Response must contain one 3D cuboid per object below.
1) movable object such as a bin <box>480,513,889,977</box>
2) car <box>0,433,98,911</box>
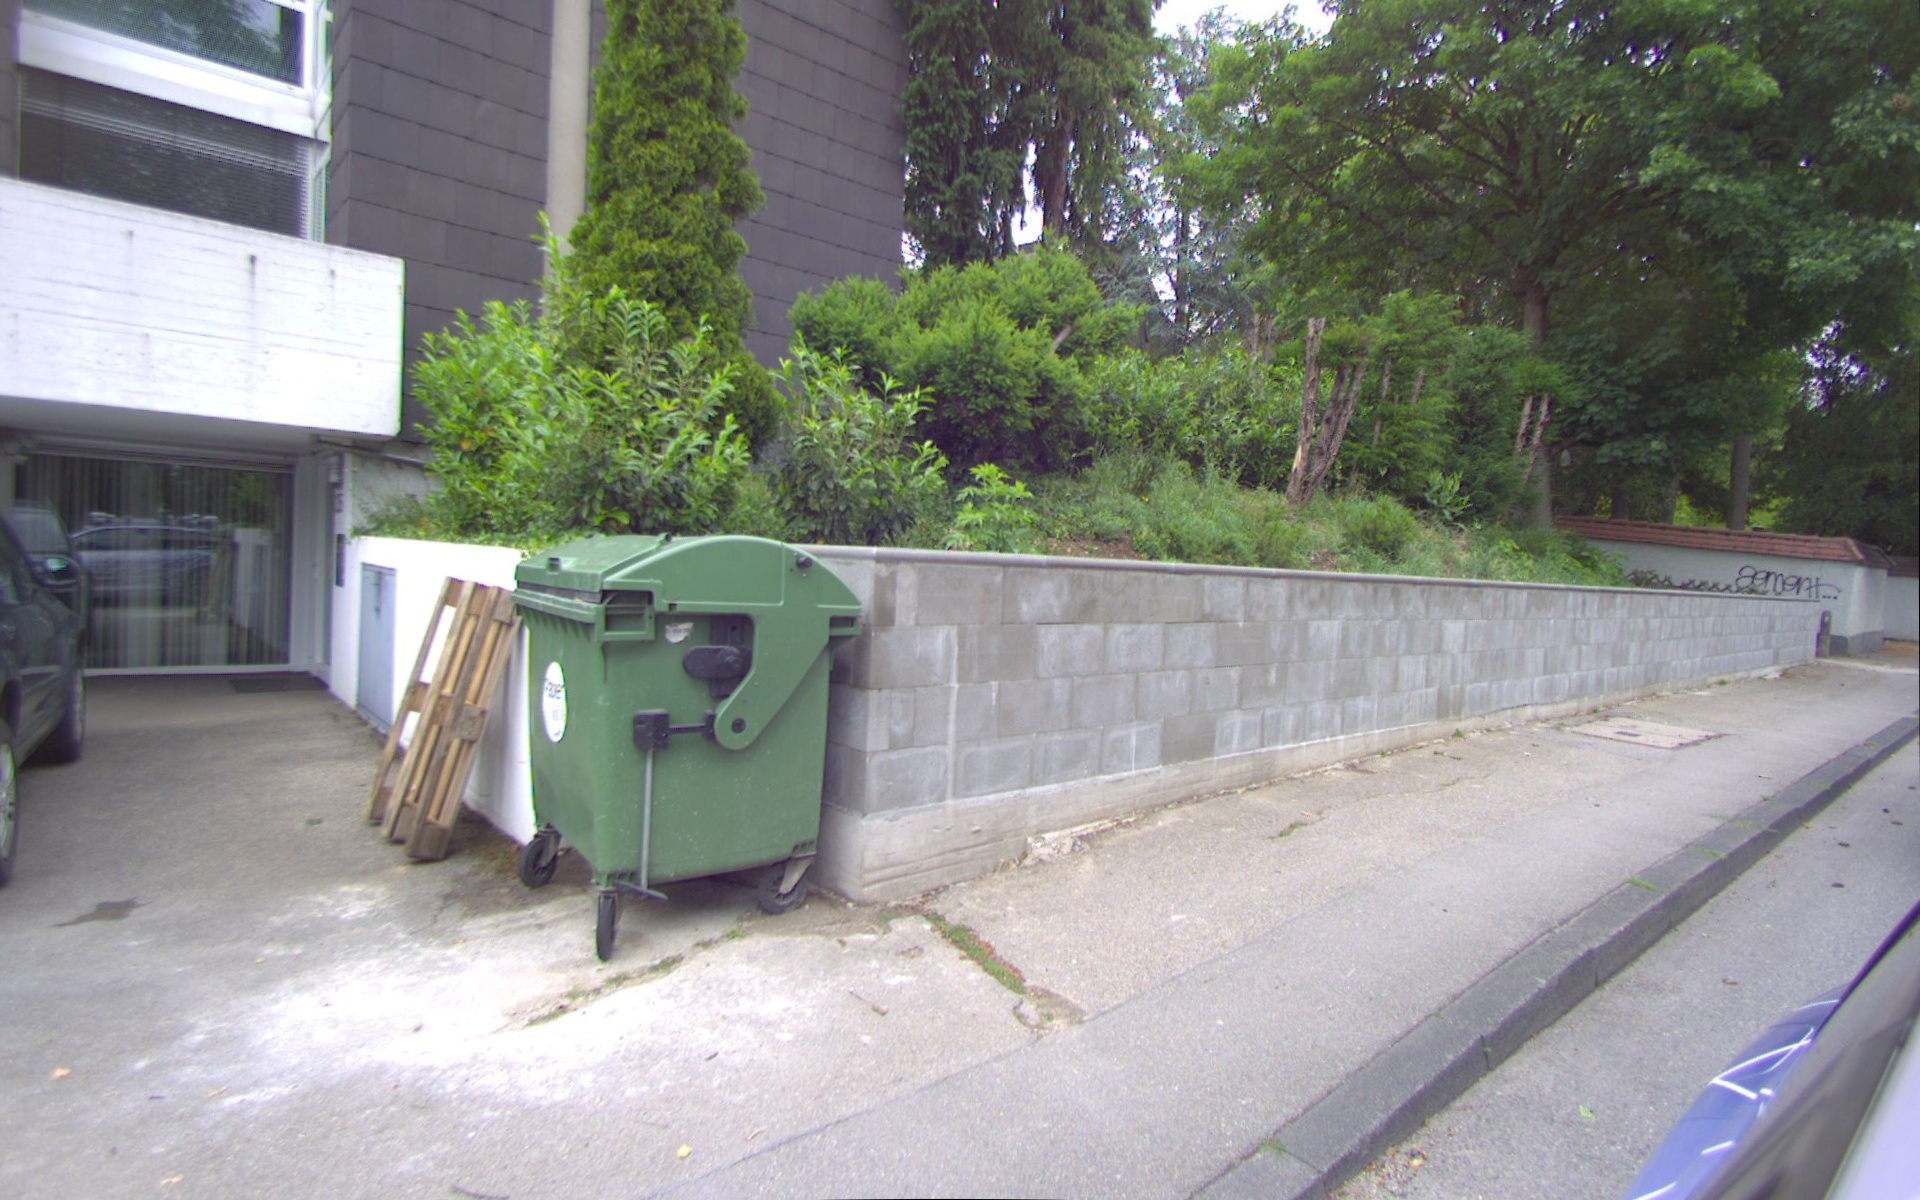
[{"bbox_3d":[-1.155,0.419,4.083,1.096,1.469,1.407,0,3,-40],"label":"movable object such as a bin"},{"bbox_3d":[-5.020,0.151,4.357,1.712,1.671,3.914,0,4,-36],"label":"car"}]
